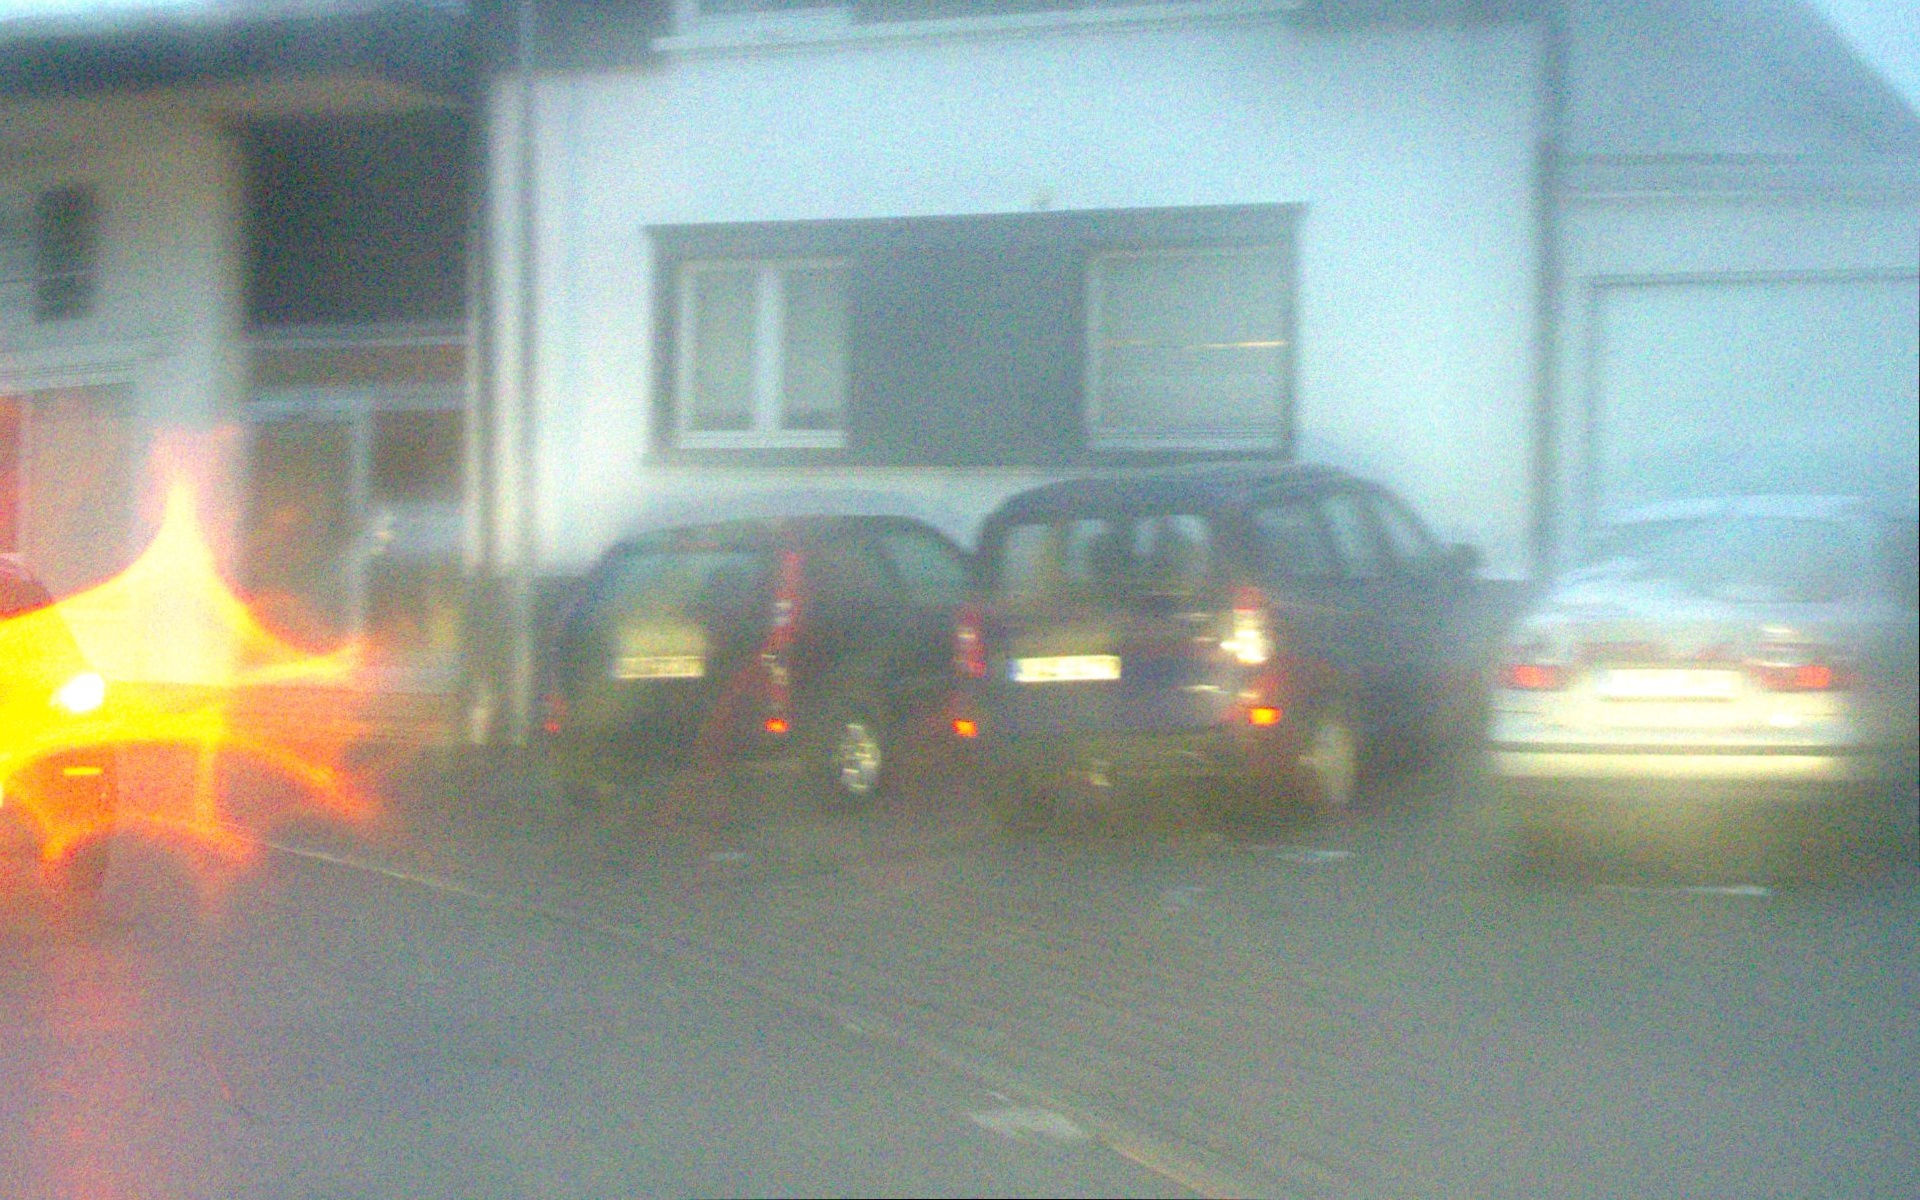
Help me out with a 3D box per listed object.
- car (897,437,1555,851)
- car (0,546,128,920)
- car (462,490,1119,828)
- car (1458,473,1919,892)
[{"bbox_3d":[1.488,0.113,17.103,1.852,1.655,4.472,-1,3,23],"label":"car"},{"bbox_3d":[-4.916,0.478,14.974,1.546,1.461,3.699,1,1,-29],"label":"car"},{"bbox_3d":[-0.777,0.243,18.464,1.885,1.445,3.889,-1,3,25],"label":"car"},{"bbox_3d":[3.617,0.243,14.775,1.812,1.415,4.033,-1,3,25],"label":"car"}]
